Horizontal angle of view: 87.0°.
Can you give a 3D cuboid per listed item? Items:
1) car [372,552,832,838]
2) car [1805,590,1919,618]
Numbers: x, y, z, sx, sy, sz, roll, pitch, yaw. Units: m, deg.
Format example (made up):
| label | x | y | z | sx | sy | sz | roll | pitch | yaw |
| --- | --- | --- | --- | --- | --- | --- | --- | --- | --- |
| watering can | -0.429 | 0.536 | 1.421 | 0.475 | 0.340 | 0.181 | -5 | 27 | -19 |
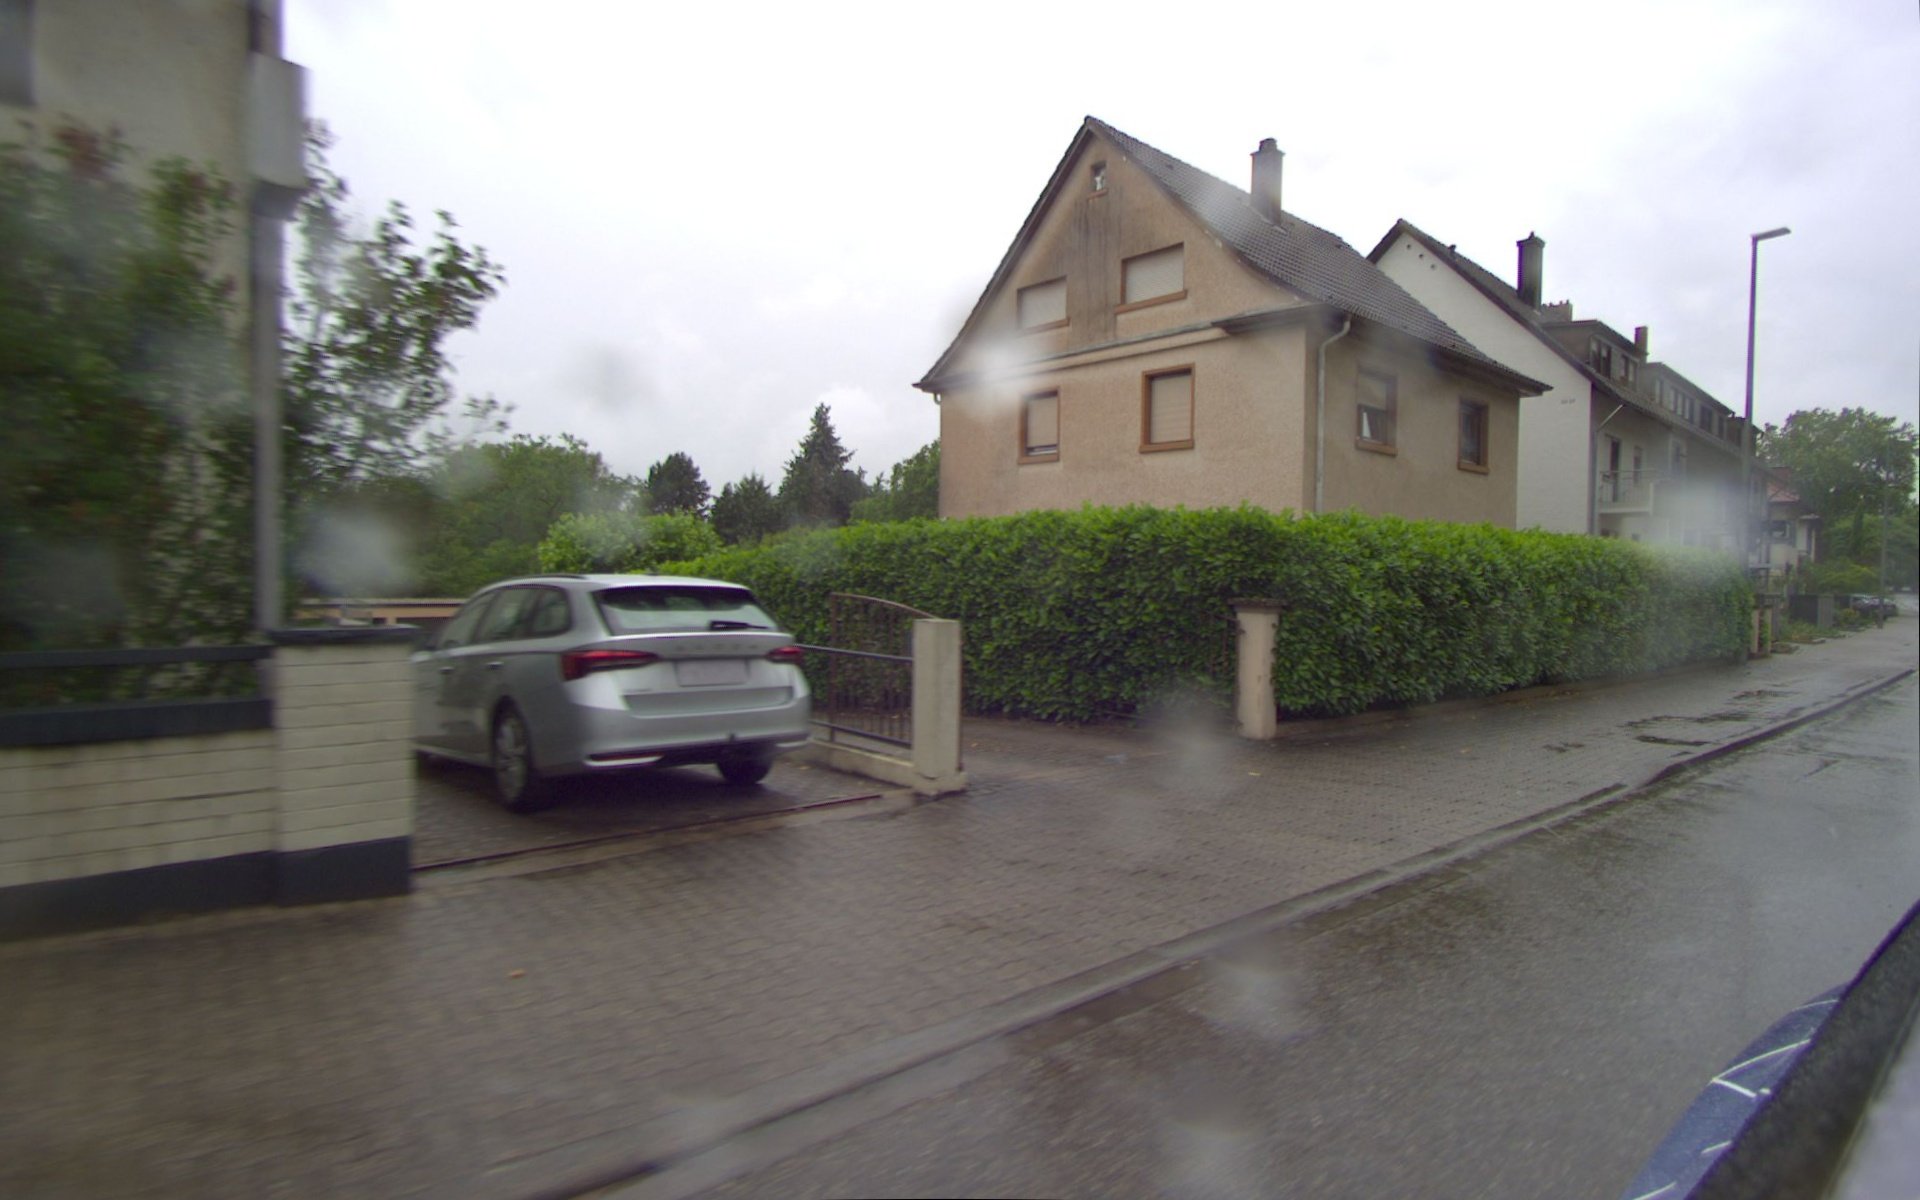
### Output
| label | x | y | z | sx | sy | sz | roll | pitch | yaw |
| --- | --- | --- | --- | --- | --- | --- | --- | --- | --- |
| car | -2.823 | 0.500 | 7.333 | 1.673 | 1.464 | 4.227 | 1 | -1 | -42 |
| car | 48.823 | 0.198 | 54.858 | 1.879 | 1.381 | 4.392 | -1 | 2 | -12 |
